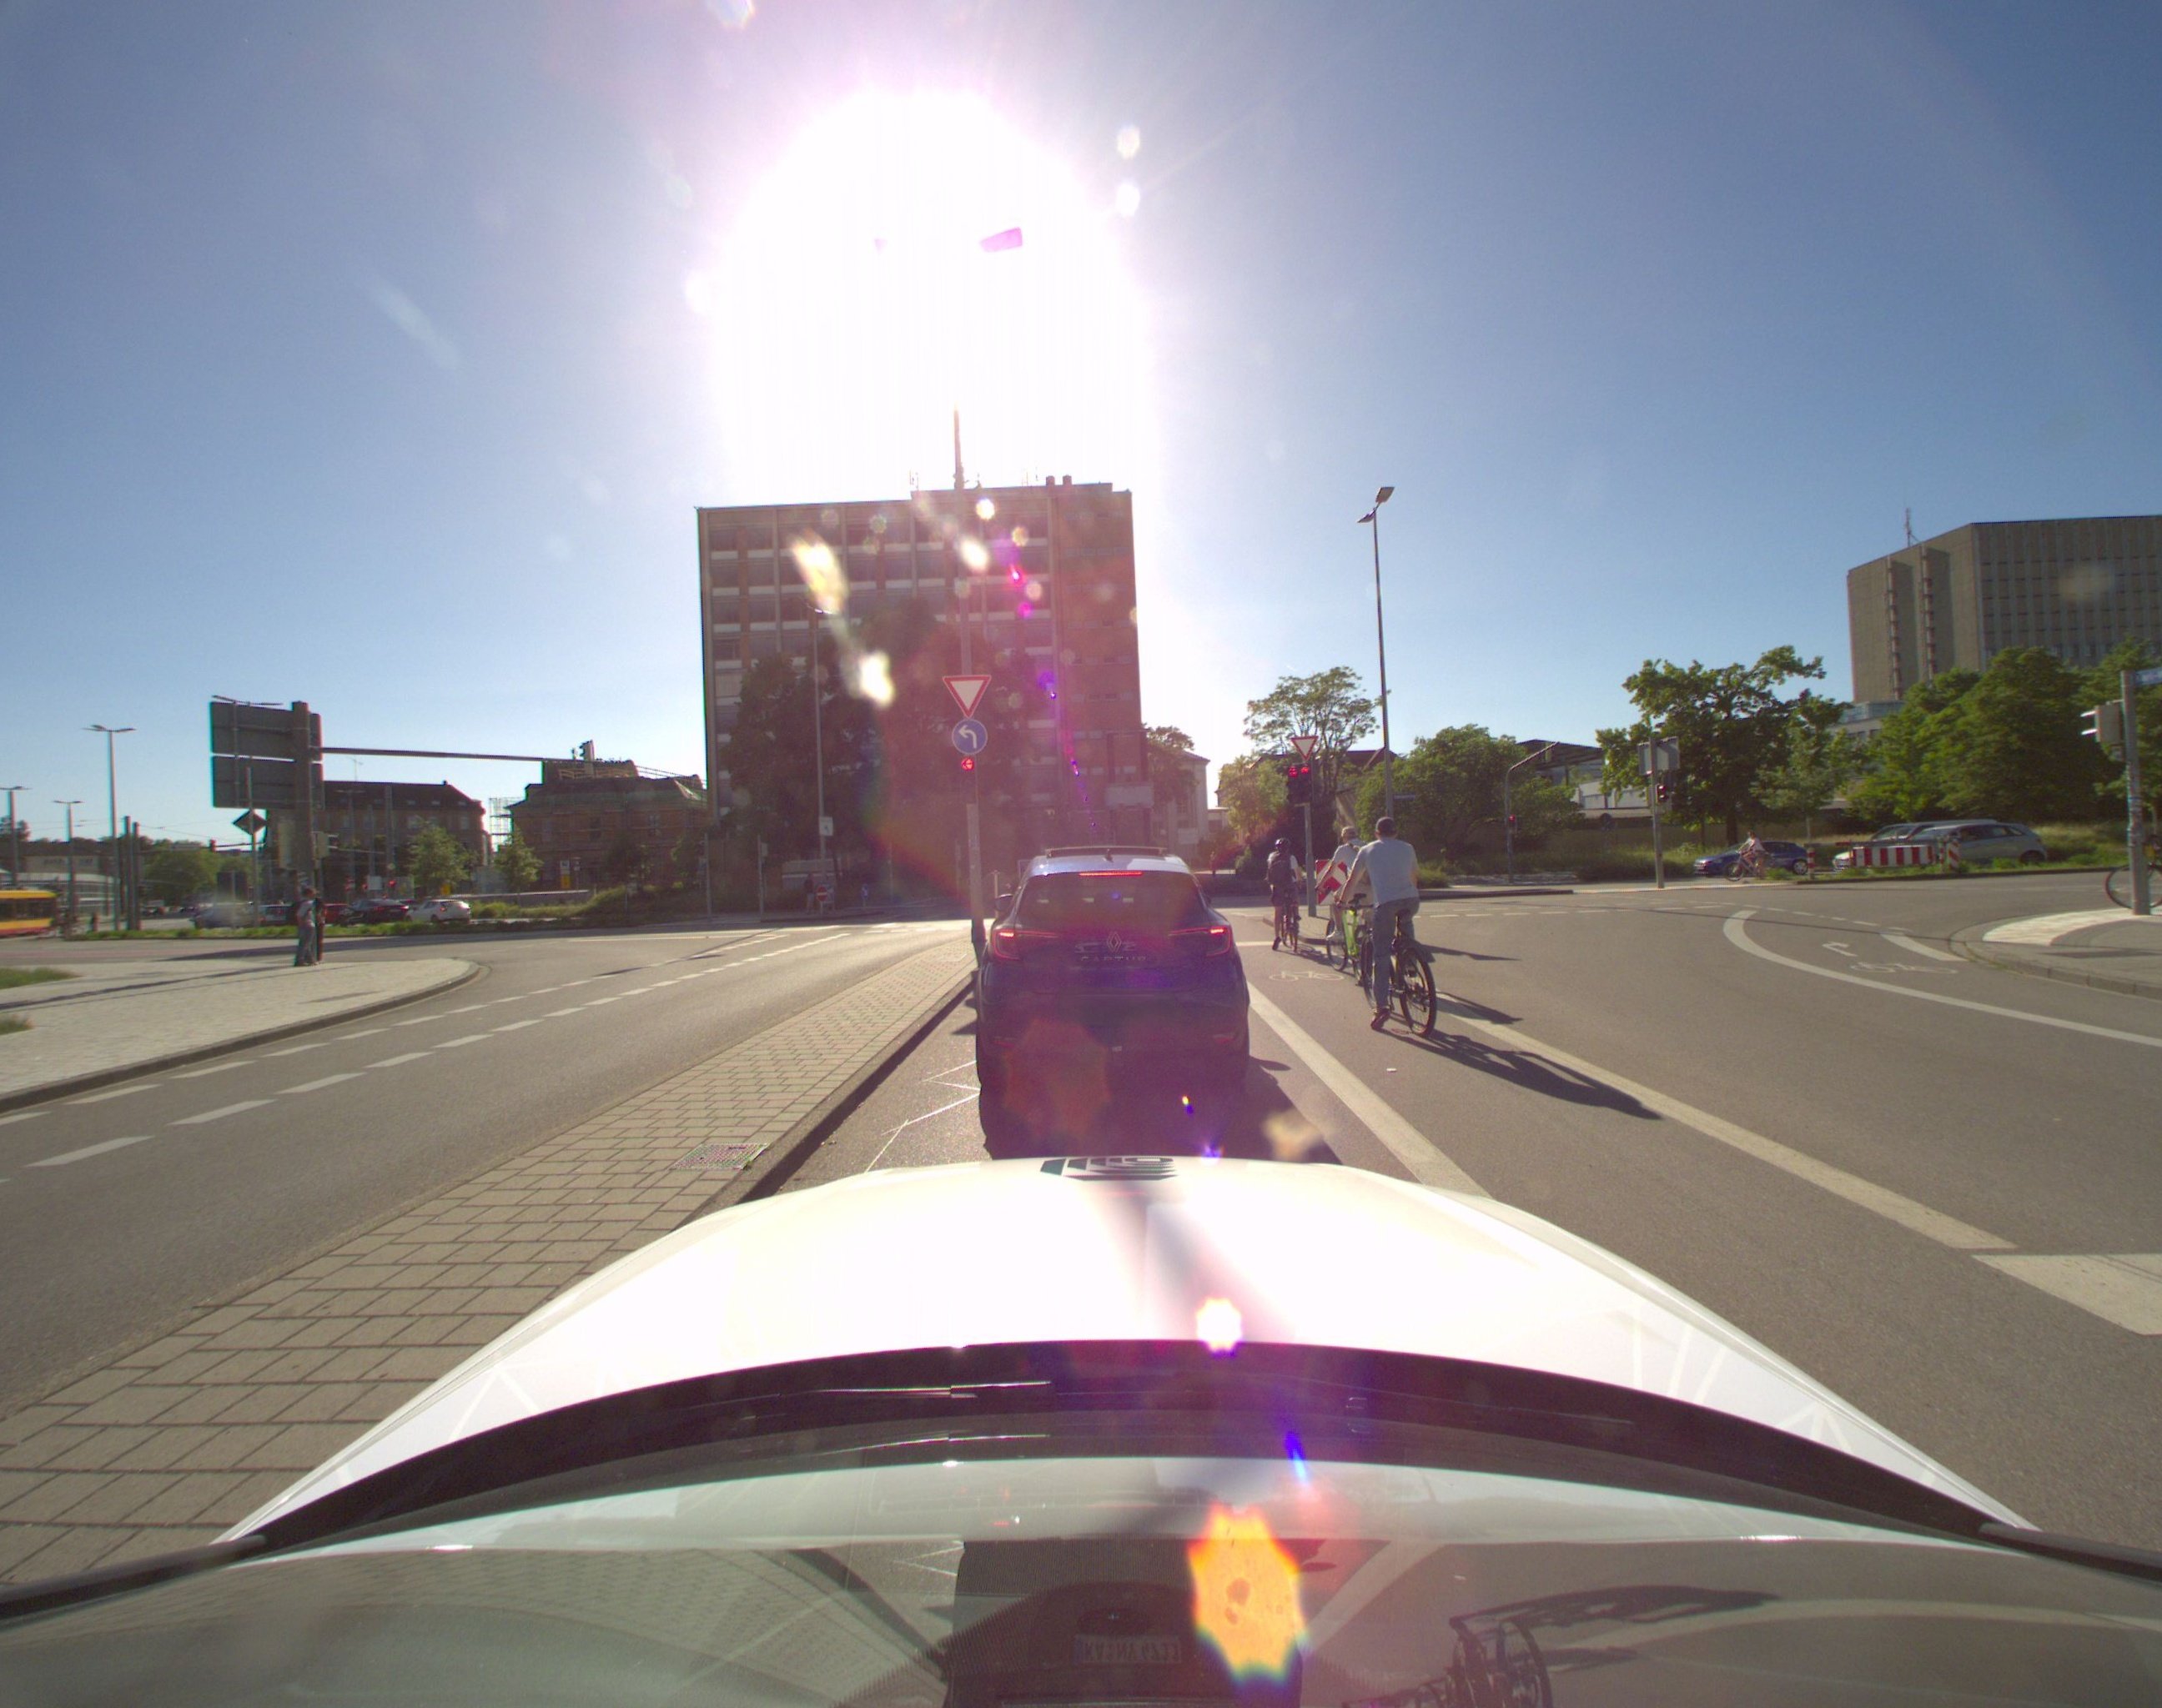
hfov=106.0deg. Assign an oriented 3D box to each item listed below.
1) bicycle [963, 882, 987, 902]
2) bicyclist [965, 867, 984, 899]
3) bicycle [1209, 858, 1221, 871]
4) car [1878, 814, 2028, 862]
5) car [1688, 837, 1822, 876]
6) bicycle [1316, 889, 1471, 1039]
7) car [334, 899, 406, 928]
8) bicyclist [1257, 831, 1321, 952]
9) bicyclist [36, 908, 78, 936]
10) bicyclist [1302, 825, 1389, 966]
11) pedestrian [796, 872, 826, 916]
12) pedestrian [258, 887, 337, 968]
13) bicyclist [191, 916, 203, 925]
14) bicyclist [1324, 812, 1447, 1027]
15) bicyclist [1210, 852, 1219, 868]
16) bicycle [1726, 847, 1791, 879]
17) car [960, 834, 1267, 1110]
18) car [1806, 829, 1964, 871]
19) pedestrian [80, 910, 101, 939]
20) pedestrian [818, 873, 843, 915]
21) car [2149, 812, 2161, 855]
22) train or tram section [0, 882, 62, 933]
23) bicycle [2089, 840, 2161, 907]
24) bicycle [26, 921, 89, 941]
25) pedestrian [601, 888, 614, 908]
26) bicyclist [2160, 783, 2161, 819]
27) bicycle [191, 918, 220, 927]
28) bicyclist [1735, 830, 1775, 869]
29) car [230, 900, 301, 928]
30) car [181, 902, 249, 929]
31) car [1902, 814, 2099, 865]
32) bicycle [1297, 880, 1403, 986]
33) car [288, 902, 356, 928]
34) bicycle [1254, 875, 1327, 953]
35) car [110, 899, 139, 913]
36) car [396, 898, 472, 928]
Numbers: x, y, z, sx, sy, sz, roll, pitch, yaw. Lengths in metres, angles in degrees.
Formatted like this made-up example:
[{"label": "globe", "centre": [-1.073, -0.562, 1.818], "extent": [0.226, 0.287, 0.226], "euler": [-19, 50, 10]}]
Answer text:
[{"label": "bicycle", "centre": [-5.729, 2.043, 44.174], "extent": [0.751, 0.985, 2.098], "euler": [-2, 0, 8]}, {"label": "bicyclist", "centre": [-5.765, 1.561, 44.074], "extent": [0.751, 1.716, 1.001], "euler": [-2, -1, 7]}, {"label": "bicycle", "centre": [12.371, 0.958, 75.277], "extent": [0.692, 1.140, 2.441], "euler": [-2, 0, 1]}, {"label": "car", "centre": [35.868, -0.618, 33.609], "extent": [3.965, 1.749, 1.798], "euler": [-2, -1, 7]}, {"label": "car", "centre": [28.133, 0.105, 34.109], "extent": [3.965, 1.398, 1.798], "euler": [-3, -1, 7]}, {"label": "bicycle", "centre": [2.722, 0.898, 7.325], "extent": [0.687, 1.089, 1.923], "euler": [-1, 0, 2]}, {"label": "car", "centre": [-42.553, 3.562, 48.744], "extent": [3.834, 1.508, 1.805], "euler": [-3, -1, 25]}, {"label": "bicyclist", "centre": [3.209, 0.559, 12.637], "extent": [0.697, 1.791, 1.142], "euler": [-1, -1, 2]}, {"label": "bicyclist", "centre": [-65.963, 4.379, 52.471], "extent": [1.585, 1.634, 0.800], "euler": [0, -1, -44]}, {"label": "bicyclist", "centre": [3.174, 0.472, 9.877], "extent": [0.676, 1.594, 1.142], "euler": [-1, -1, 2]}, {"label": "pedestrian", "centre": [-11.925, 1.760, 35.945], "extent": [0.807, 1.862, 0.913], "euler": [-3, -1, 15]}, {"label": "pedestrian", "centre": [-17.801, 1.653, 18.526], "extent": [0.647, 1.730, 1.066], "euler": [-3, -1, 15]}, {"label": "bicyclist", "centre": [-63.178, 4.748, 58.186], "extent": [0.425, 0.549, 0.575], "euler": [-3, -1, 42]}, {"label": "bicyclist", "centre": [2.720, 0.553, 7.400], "extent": [0.680, 1.791, 1.142], "euler": [-1, -1, 2]}, {"label": "bicyclist", "centre": [12.359, 0.545, 75.342], "extent": [0.692, 1.481, 0.717], "euler": [-2, -1, 0]}, {"label": "bicycle", "centre": [24.137, 0.322, 29.038], "extent": [1.673, 1.033, 0.612], "euler": [-2, -1, 7]}, {"label": "car", "centre": [0.195, 0.704, 6.769], "extent": [1.783, 1.585, 3.913], "euler": [-1, 0, 0]}, {"label": "car", "centre": [30.294, -0.136, 30.795], "extent": [3.965, 1.398, 1.798], "euler": [-3, -1, 7]}, {"label": "pedestrian", "centre": [-62.849, 4.475, 51.688], "extent": [0.696, 1.762, 0.781], "euler": [-3, -1, 41]}, {"label": "pedestrian", "centre": [-10.914, 1.736, 35.464], "extent": [0.675, 1.730, 0.764], "euler": [-3, -1, 15]}, {"label": "car", "centre": [36.899, -0.763, 25.333], "extent": [4.534, 1.398, 1.798], "euler": [-3, -1, 7]}, {"label": "train or tram section", "centre": [-74.902, 3.660, 56.089], "extent": [2.711, 3.232, 10.490], "euler": [0, -1, -33]}, {"label": "bicycle", "centre": [15.912, 0.268, 11.629], "extent": [0.640, 0.958, 1.866], "euler": [-2, -1, -39]}, {"label": "bicycle", "centre": [-65.955, 4.963, 52.497], "extent": [2.433, 1.062, 0.800], "euler": [0, -1, -45]}, {"label": "pedestrian", "centre": [-41.778, 3.905, 71.839], "extent": [0.680, 1.730, 0.759], "euler": [-2, -1, -7]}, {"label": "bicyclist", "centre": [16.024, -0.226, 11.475], "extent": [0.635, 1.646, 0.903], "euler": [-2, -1, -39]}, {"label": "bicycle", "centre": [-62.885, 4.901, 58.490], "extent": [0.429, 0.549, 1.419], "euler": [-3, -1, 42]}, {"label": "bicyclist", "centre": [24.033, -0.160, 29.053], "extent": [0.870, 1.343, 0.612], "euler": [-2, -1, 7]}, {"label": "car", "centre": [-48.866, 3.603, 48.808], "extent": [3.834, 1.508, 1.805], "euler": [-3, -1, 25]}, {"label": "car", "centre": [-54.915, 3.891, 51.641], "extent": [3.834, 1.508, 1.805], "euler": [-3, -1, 25]}, {"label": "car", "centre": [29.218, -0.434, 26.003], "extent": [3.965, 1.398, 1.798], "euler": [-3, -1, 7]}, {"label": "bicycle", "centre": [3.191, 0.890, 9.851], "extent": [0.687, 1.089, 1.923], "euler": [-1, 0, 2]}, {"label": "car", "centre": [-48.209, 3.869, 51.713], "extent": [3.834, 1.508, 1.805], "euler": [-3, -1, 25]}, {"label": "bicycle", "centre": [3.270, 0.898, 12.865], "extent": [0.687, 1.089, 1.923], "euler": [-1, 0, 2]}, {"label": "car", "centre": [-154.393, 8.454, 131.478], "extent": [2.008, 2.014, 3.956], "euler": [0, -1, -35]}, {"label": "car", "centre": [-36.397, 3.335, 45.839], "extent": [3.834, 1.508, 1.805], "euler": [-3, -1, 25]}]
